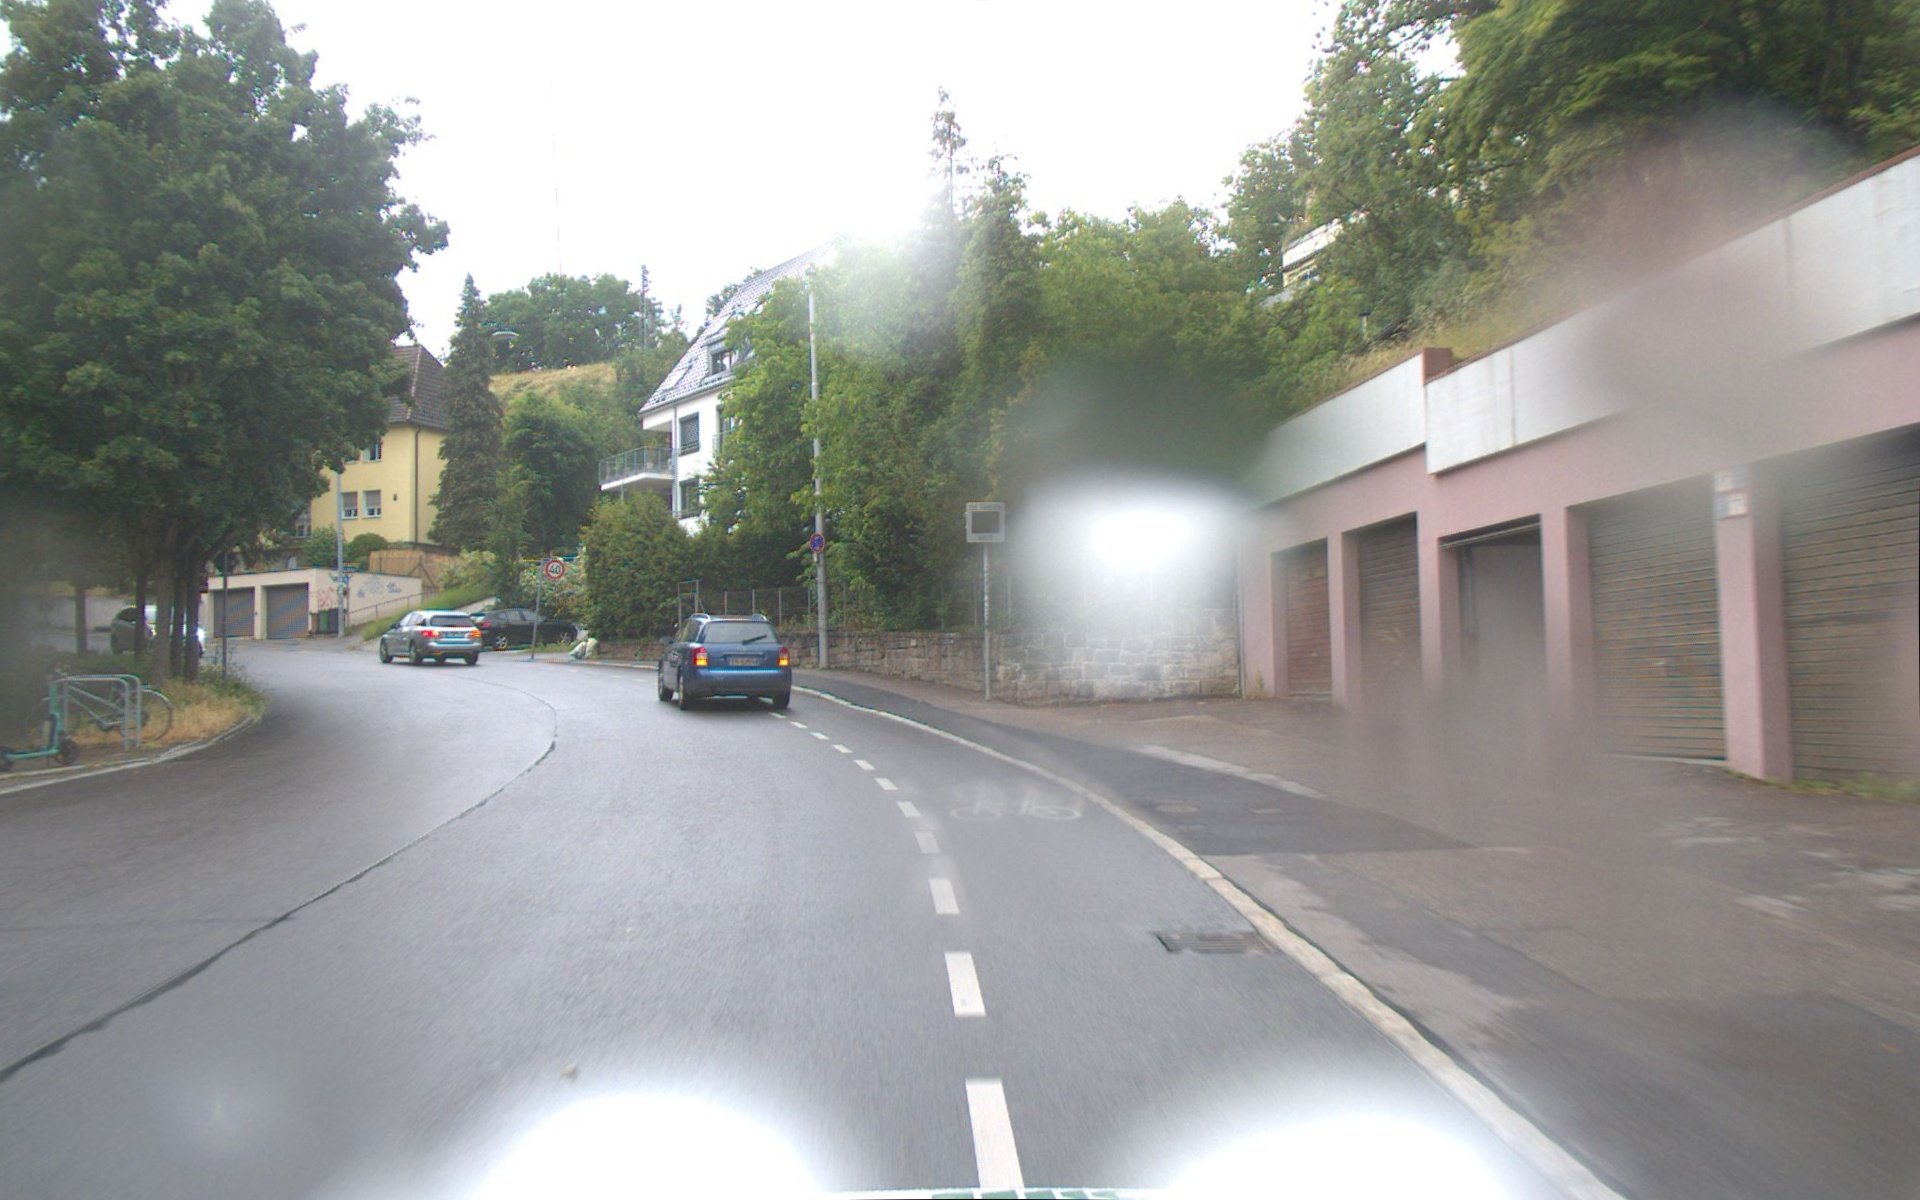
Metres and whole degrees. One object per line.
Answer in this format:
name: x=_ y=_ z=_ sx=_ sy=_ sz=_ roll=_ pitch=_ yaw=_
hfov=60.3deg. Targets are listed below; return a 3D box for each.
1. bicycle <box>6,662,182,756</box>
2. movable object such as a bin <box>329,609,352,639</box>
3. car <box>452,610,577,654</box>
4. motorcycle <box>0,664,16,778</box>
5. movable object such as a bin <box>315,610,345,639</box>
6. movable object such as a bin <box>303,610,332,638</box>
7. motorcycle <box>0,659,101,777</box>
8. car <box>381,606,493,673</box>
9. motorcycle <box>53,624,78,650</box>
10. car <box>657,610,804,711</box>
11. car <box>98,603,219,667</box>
bicycle: x=-10.971 y=1.366 z=21.026 sx=1.938 sy=1.079 sz=0.748 roll=-1 pitch=0 yaw=-26
movable object such as a bin: x=-25.775 y=1.002 z=68.819 sx=0.567 sy=1.245 sz=0.704 roll=0 pitch=0 yaw=24
car: x=-15.927 y=1.126 z=59.333 sx=1.707 sy=1.534 sz=4.163 roll=-1 pitch=-1 yaw=38
motorcycle: x=-10.882 y=1.341 z=17.891 sx=0.541 sy=1.249 sz=1.306 roll=-1 pitch=0 yaw=3
movable object such as a bin: x=-26.347 y=1.006 z=69.184 sx=0.769 sy=1.206 sz=0.861 roll=0 pitch=0 yaw=24
movable object such as a bin: x=-27.043 y=1.025 z=69.616 sx=0.781 sy=1.162 sz=0.861 roll=0 pitch=0 yaw=24
motorcycle: x=-10.342 y=1.306 z=18.621 sx=0.545 sy=1.225 sz=1.399 roll=-1 pitch=0 yaw=3
car: x=-14.668 y=1.076 z=46.257 sx=1.931 sy=1.588 sz=4.217 roll=3 pitch=0 yaw=-32
motorcycle: x=-42.175 y=1.737 z=77.949 sx=1.413 sy=1.151 sz=0.547 roll=0 pitch=-1 yaw=40
car: x=-3.809 y=0.912 z=26.866 sx=1.823 sy=1.438 sz=4.343 roll=0 pitch=0 yaw=-15
car: x=-25.334 y=1.090 z=52.212 sx=1.976 sy=1.819 sz=4.617 roll=-3 pitch=2 yaw=-45
